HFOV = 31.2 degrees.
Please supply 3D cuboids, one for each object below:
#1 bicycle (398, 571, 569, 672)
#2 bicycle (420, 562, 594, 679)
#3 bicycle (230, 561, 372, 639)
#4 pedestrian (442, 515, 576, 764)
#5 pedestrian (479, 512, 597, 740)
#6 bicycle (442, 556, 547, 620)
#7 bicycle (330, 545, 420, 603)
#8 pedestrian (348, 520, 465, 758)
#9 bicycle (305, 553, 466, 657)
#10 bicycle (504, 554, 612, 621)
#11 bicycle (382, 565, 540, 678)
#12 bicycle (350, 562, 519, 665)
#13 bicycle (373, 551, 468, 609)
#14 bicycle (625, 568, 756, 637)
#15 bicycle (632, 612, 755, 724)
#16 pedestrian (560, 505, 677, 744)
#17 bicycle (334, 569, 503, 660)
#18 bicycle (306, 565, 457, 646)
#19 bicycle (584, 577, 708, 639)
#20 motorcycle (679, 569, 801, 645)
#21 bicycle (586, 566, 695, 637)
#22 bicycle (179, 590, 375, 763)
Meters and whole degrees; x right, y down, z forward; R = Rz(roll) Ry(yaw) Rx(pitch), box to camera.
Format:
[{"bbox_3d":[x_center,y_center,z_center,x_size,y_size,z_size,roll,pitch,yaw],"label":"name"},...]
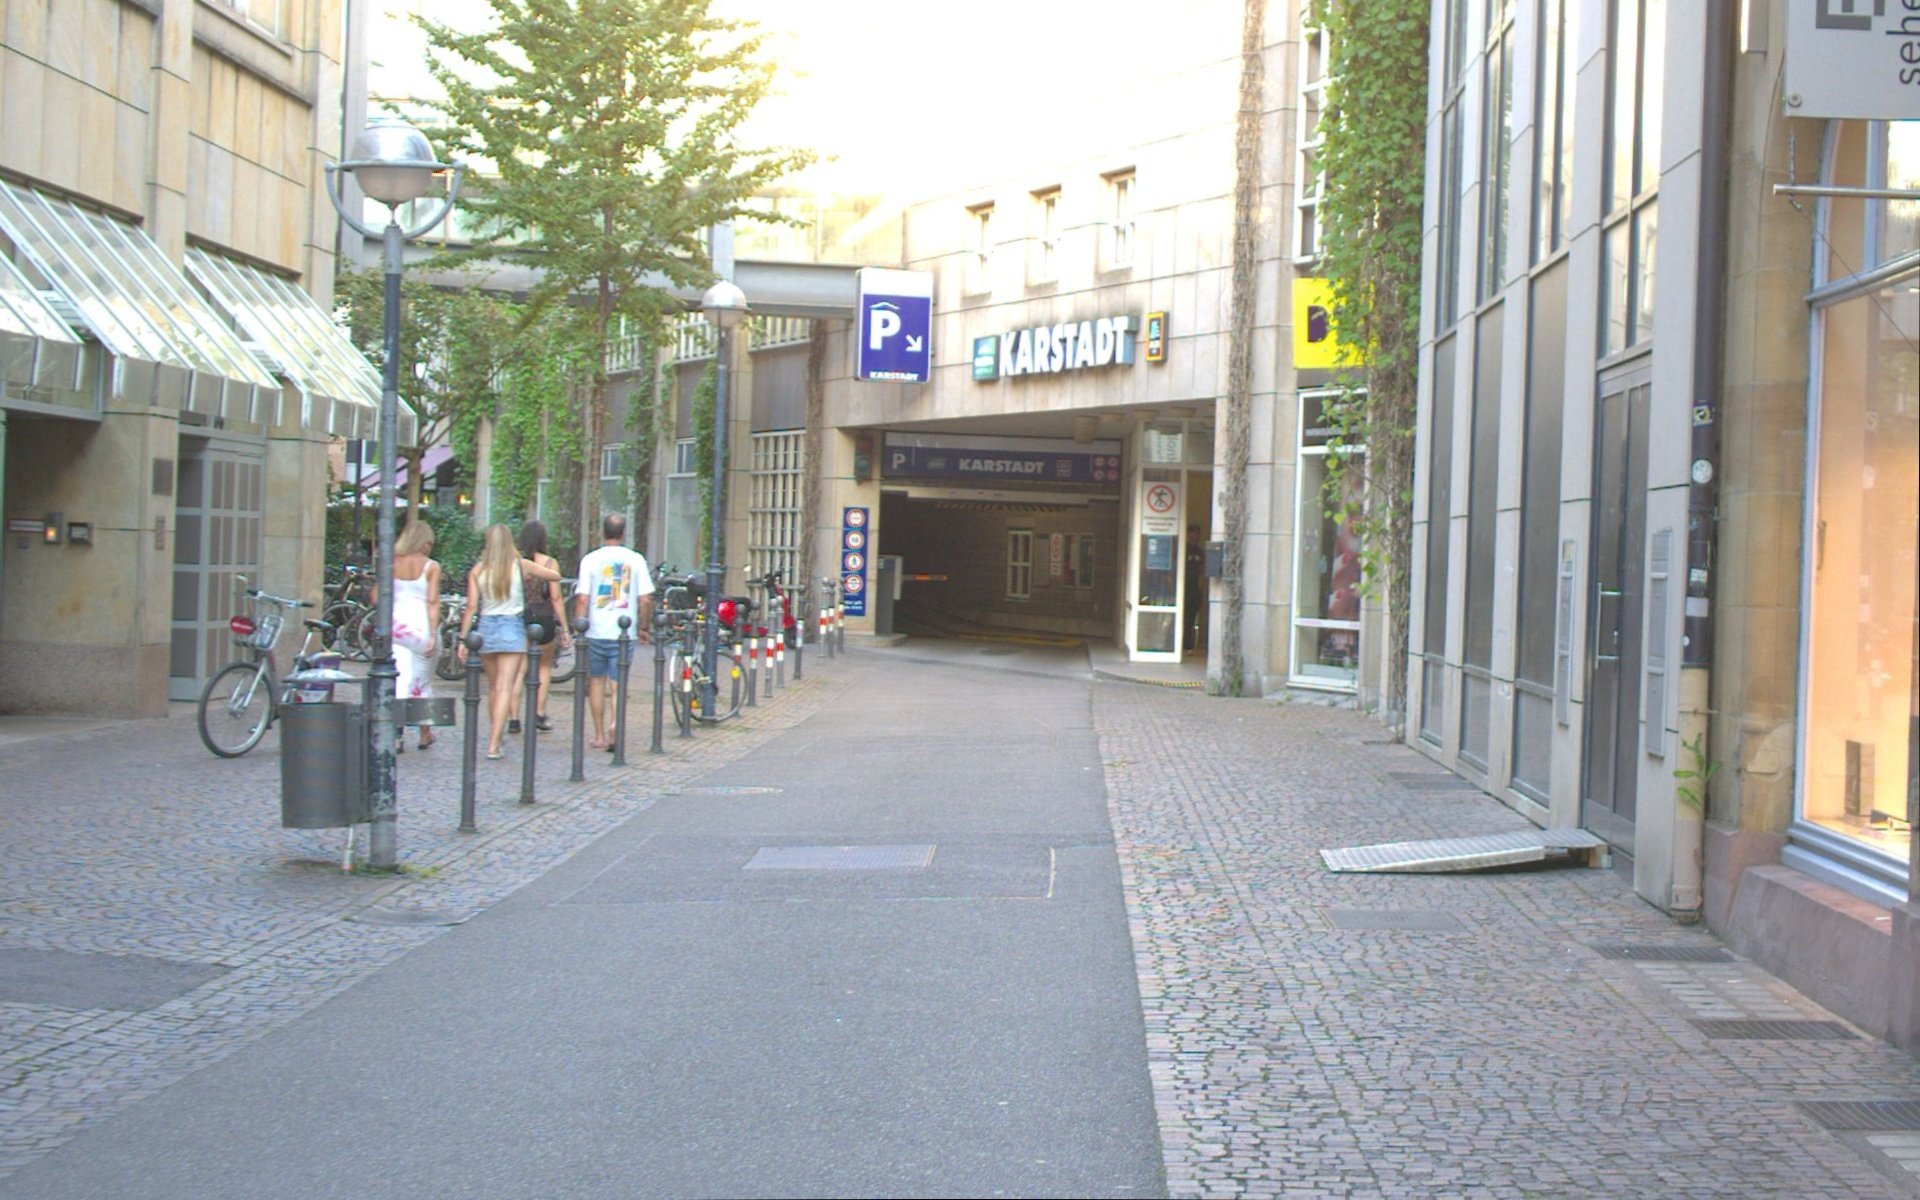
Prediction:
[{"bbox_3d":[-5.446,0.246,39.296,1.836,1.118,0.534,1,1,-21],"label":"bicycle"},{"bbox_3d":[-4.885,0.221,37.110,1.766,1.226,0.534,1,1,-21],"label":"bicycle"},{"bbox_3d":[-9.026,-0.002,47.094,1.824,1.039,0.534,1,1,-21],"label":"bicycle"},{"bbox_3d":[-3.226,0.270,24.680,0.806,1.723,0.949,2,1,-2],"label":"pedestrian"},{"bbox_3d":[-3.402,0.199,27.782,0.785,1.789,0.972,1,1,1],"label":"pedestrian"},{"bbox_3d":[-8.377,-0.211,61.906,1.773,1.110,0.543,1,1,-19],"label":"bicycle"},{"bbox_3d":[-12.417,-0.550,72.984,1.773,1.186,0.586,1,1,-19],"label":"bicycle"},{"bbox_3d":[-3.956,0.268,24.626,0.674,1.659,0.860,2,1,-2],"label":"pedestrian"},{"bbox_3d":[-6.930,0.067,41.493,1.833,1.221,0.534,1,1,-21],"label":"bicycle"},{"bbox_3d":[-6.973,-0.213,59.611,1.773,1.110,0.543,1,1,-19],"label":"bicycle"},{"bbox_3d":[-5.578,0.239,38.408,1.653,1.226,0.534,1,1,-21],"label":"bicycle"},{"bbox_3d":[-6.156,0.157,40.269,1.872,1.173,0.534,1,1,-21],"label":"bicycle"},{"bbox_3d":[-10.633,-0.395,67.743,1.773,1.110,0.543,1,1,-16],"label":"bicycle"},{"bbox_3d":[-3.986,0.043,50.875,1.847,0.979,0.464,1,1,-19],"label":"bicycle"},{"bbox_3d":[-2.361,0.590,30.598,0.493,0.935,1.658,3,1,16],"label":"bicycle"},{"bbox_3d":[-2.654,0.182,26.684,0.742,1.816,0.878,1,1,-14],"label":"pedestrian"},{"bbox_3d":[-6.426,0.174,40.807,1.893,1.048,0.534,1,1,-21],"label":"bicycle"},{"bbox_3d":[-7.615,0.071,45.298,1.876,1.039,0.534,1,1,-21],"label":"bicycle"},{"bbox_3d":[-4.729,0.122,51.762,1.773,0.901,0.464,1,1,-19],"label":"bicycle"},{"bbox_3d":[-3.146,0.096,49.226,1.662,1.047,0.464,1,1,-19],"label":"motorcycle"},{"bbox_3d":[-4.896,0.019,52.701,1.539,1.045,0.575,1,1,-19],"label":"bicycle"},{"bbox_3d":[-4.715,0.507,23.843,0.522,1.134,1.763,2,1,18],"label":"bicycle"}]
